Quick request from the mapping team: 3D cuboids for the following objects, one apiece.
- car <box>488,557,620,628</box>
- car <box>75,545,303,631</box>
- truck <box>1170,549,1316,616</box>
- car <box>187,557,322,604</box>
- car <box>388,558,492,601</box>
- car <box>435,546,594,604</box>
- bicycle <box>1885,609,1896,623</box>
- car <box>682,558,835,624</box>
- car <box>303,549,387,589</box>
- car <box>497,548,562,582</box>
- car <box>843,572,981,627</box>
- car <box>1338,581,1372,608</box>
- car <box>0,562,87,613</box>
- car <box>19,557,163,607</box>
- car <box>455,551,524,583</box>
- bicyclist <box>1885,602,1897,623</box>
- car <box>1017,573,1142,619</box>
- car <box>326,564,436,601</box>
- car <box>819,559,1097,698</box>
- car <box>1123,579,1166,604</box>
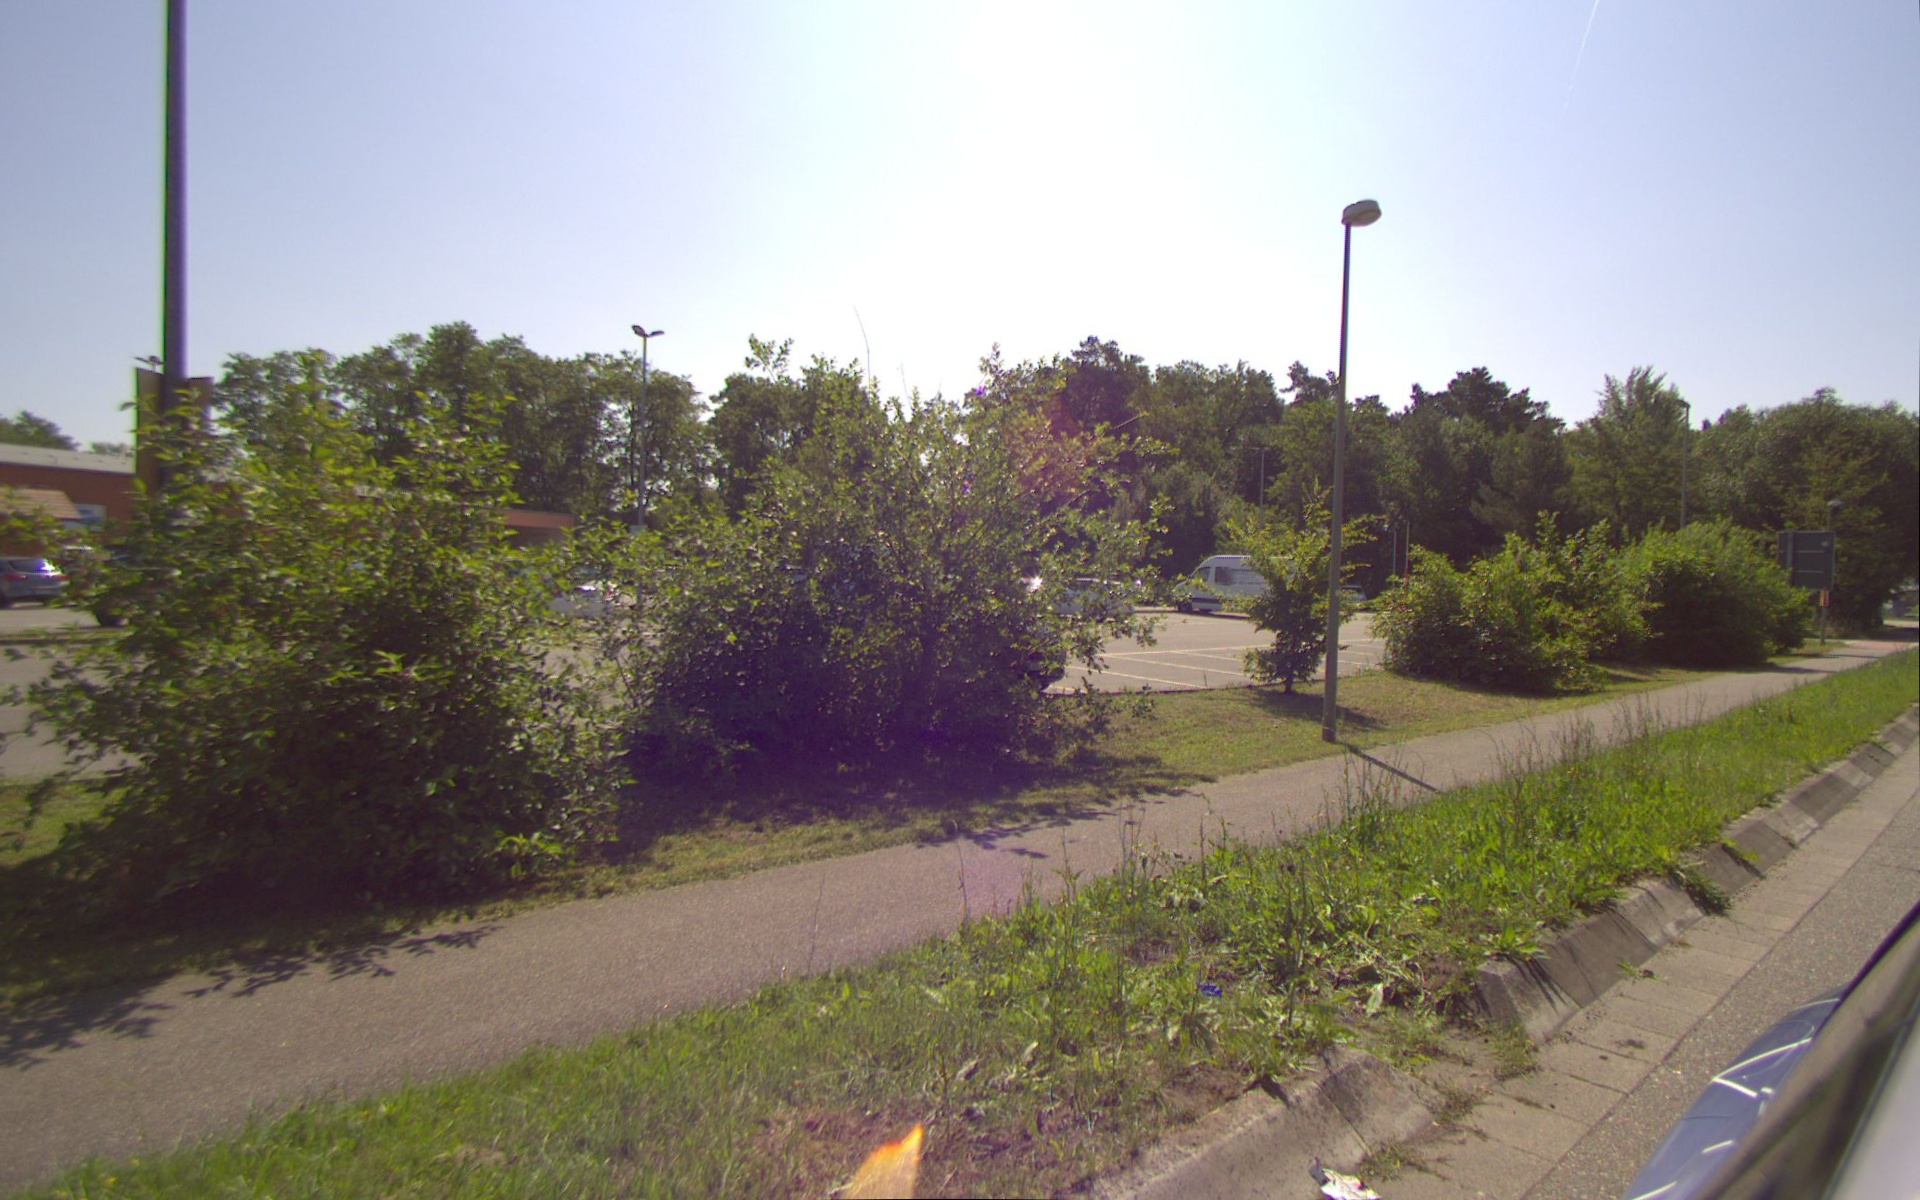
[{"bbox_3d":[-9.359,-0.215,23.159,1.621,1.460,3.996,1,2,-40],"label":"car"},{"bbox_3d":[-16.041,-0.275,21.103,3.940,1.608,1.655,2,1,13],"label":"car"},{"bbox_3d":[11.893,-0.797,42.906,2.166,2.637,5.605,1,2,-43],"label":"truck"},{"bbox_3d":[-24.901,-0.696,35.734,3.949,1.504,1.956,2,1,19],"label":"car"},{"bbox_3d":[-22.189,-0.883,43.181,3.961,1.683,1.982,2,1,27],"label":"car"},{"bbox_3d":[-14.004,-0.746,31.819,4.504,1.723,1.986,0,0,21],"label":"car"},{"bbox_3d":[77.075,1.314,83.816,1.494,1.138,0.591,1,-1,-42],"label":"bicycle"},{"bbox_3d":[-5.370,-0.272,26.648,4.155,1.593,1.968,2,1,45],"label":"car"},{"bbox_3d":[-33.836,-1.706,55.705,3.953,2.038,1.986,2,1,22],"label":"car"},{"bbox_3d":[-30.031,-2.431,70.546,3.980,2.275,1.984,2,1,24],"label":"car"},{"bbox_3d":[-1.470,-0.052,29.975,3.983,1.445,1.724,3,2,41],"label":"car"},{"bbox_3d":[23.996,-0.371,61.601,1.738,1.549,4.346,2,2,19],"label":"car"},{"bbox_3d":[-27.678,-0.403,29.255,3.948,1.393,1.988,2,1,19],"label":"car"},{"bbox_3d":[-27.146,-0.569,31.622,3.950,1.415,1.704,2,1,20],"label":"car"},{"bbox_3d":[-30.994,-2.174,66.653,3.957,2.039,1.984,2,1,24],"label":"car"},{"bbox_3d":[77.161,1.008,83.896,0.962,1.752,0.637,1,0,-42],"label":"bicyclist"},{"bbox_3d":[4.195,-0.165,35.710,3.953,1.471,1.879,3,1,38],"label":"car"},{"bbox_3d":[-23.495,-0.724,41.060,3.960,1.371,1.982,2,1,26],"label":"car"},{"bbox_3d":[-0.160,0.301,14.772,1.722,1.647,4.126,1,2,-42],"label":"car"},{"bbox_3d":[12.054,-0.565,65.900,2.046,1.504,3.972,2,1,21],"label":"car"}]
